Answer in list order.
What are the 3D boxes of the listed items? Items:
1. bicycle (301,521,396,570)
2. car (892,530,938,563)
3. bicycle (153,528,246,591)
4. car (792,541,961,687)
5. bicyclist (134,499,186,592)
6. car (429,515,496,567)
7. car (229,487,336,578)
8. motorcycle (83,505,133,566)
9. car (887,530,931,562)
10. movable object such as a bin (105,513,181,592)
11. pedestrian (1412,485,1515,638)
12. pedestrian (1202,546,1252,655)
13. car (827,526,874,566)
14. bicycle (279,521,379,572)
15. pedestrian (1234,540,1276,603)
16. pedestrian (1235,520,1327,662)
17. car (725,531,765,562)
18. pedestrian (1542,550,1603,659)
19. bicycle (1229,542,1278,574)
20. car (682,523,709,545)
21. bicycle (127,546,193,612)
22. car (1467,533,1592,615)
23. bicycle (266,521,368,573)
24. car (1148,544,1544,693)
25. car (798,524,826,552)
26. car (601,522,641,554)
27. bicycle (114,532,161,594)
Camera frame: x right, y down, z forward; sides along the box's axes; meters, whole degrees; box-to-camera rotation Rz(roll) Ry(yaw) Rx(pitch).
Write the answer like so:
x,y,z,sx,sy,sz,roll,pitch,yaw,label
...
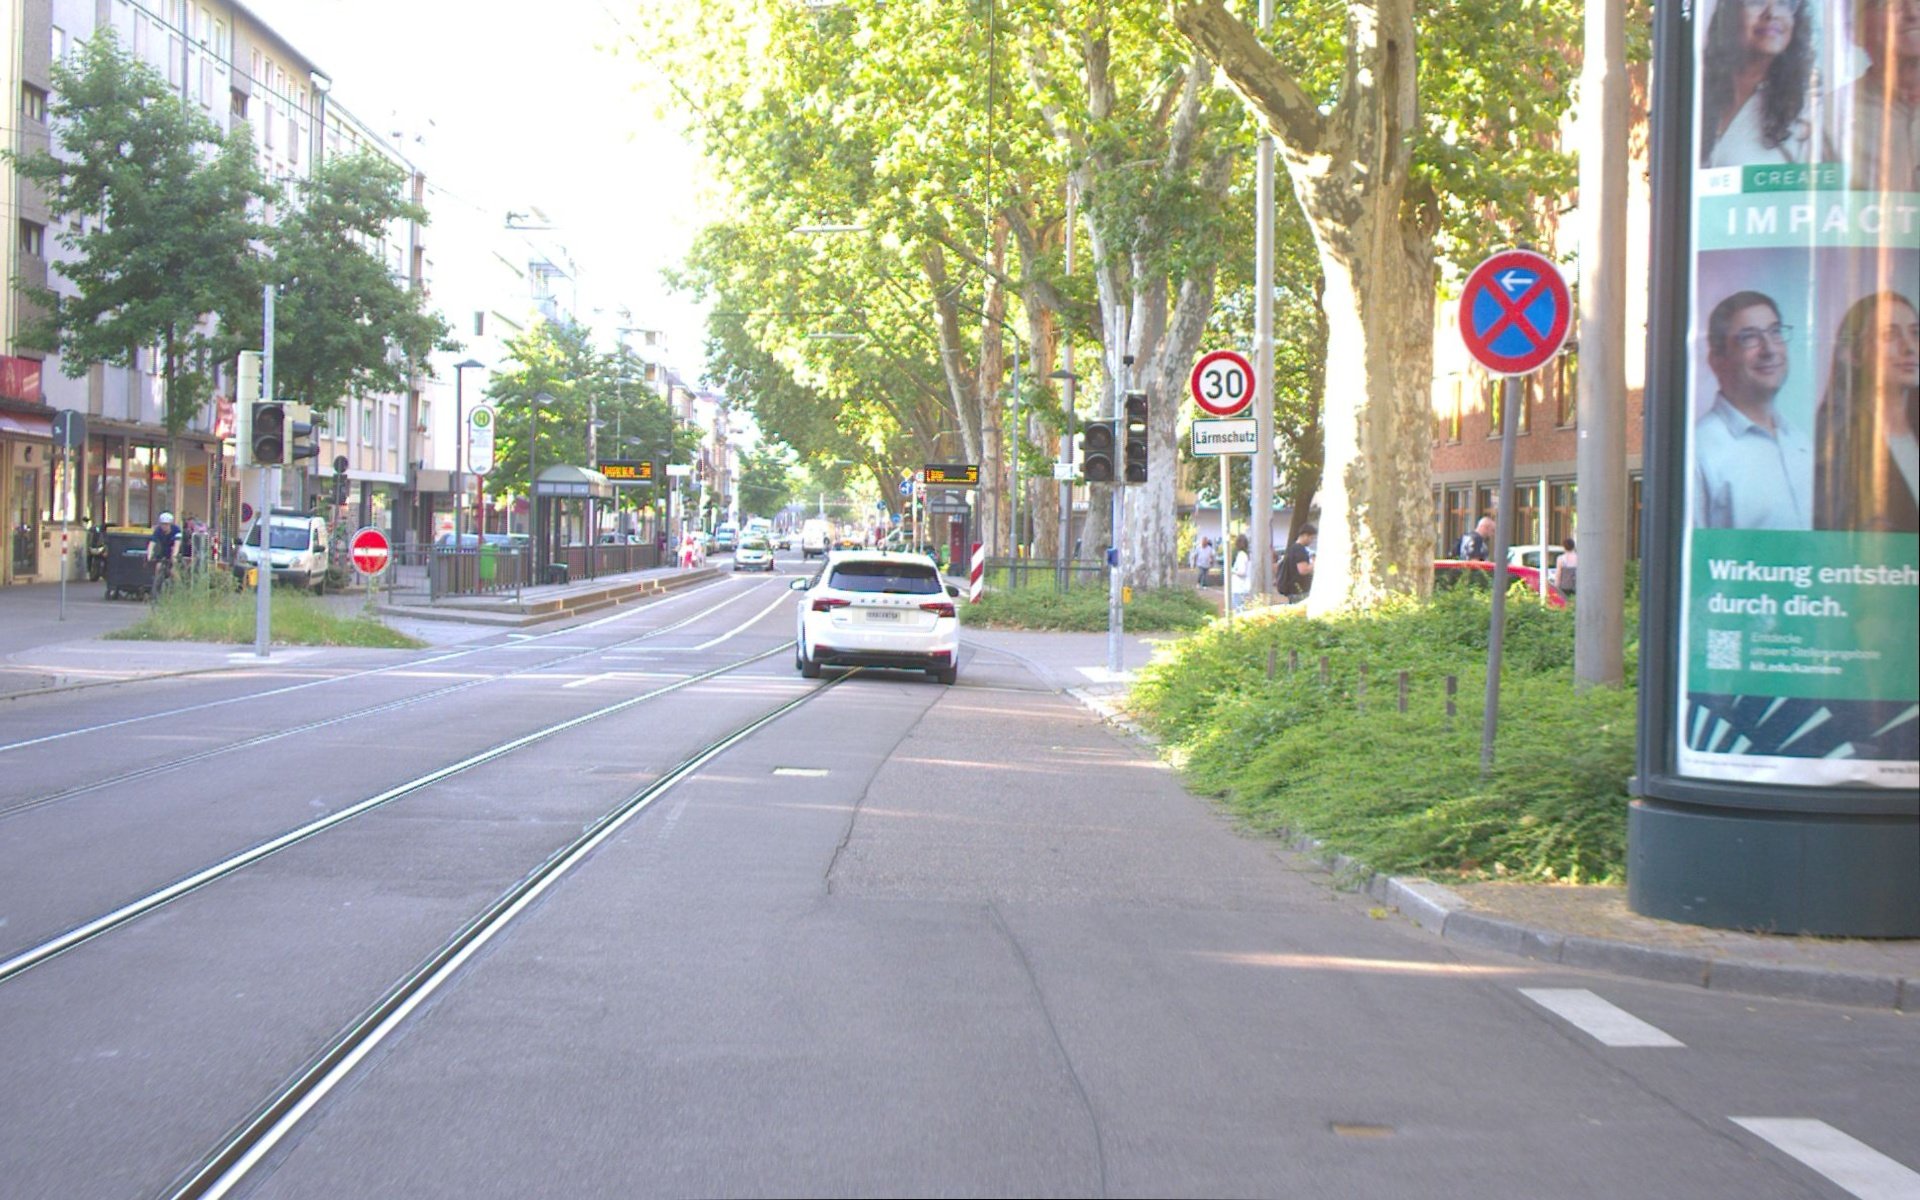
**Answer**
x,y,z,sx,sy,sz,roll,pitch,yaw,label
-15.595,-1.393,87.704,2.253,1.070,0.636,4,1,0,bicycle
-2.089,-2.450,157.903,1.993,1.448,4.001,1,1,-2,car
-14.422,-0.780,65.239,1.533,1.071,0.885,4,1,-2,bicycle
-0.962,0.120,38.879,1.788,1.508,4.001,1,1,-2,car
-12.555,-0.863,53.961,0.641,1.450,0.837,0,1,-2,bicyclist
-15.851,-1.897,109.620,1.593,1.543,4.001,3,1,-2,car
-15.025,-1.507,76.431,1.688,1.933,4.001,1,1,-2,car
-18.630,-1.419,75.229,0.599,1.306,2.222,1,1,-2,motorcycle
-2.439,-2.554,162.982,1.993,1.448,4.001,1,1,-2,car
-15.003,-0.880,63.150,1.169,1.344,0.783,5,1,-6,movable object such as a bin
6.318,-0.492,43.168,0.982,1.857,1.016,-2,2,-7,pedestrian
4.151,0.001,53.440,0.652,1.663,0.738,1,1,-2,pedestrian
-4.308,-2.134,135.339,1.788,1.508,4.001,1,1,-2,car
-15.409,-1.298,84.011,2.253,1.070,0.636,4,1,0,bicycle
7.713,-0.750,89.900,0.972,1.618,0.888,1,1,-2,pedestrian
4.163,-0.122,44.610,0.994,1.805,0.864,1,1,-7,pedestrian
-9.999,-2.502,159.955,1.693,1.414,4.001,1,1,-2,car
9.481,0.062,53.237,0.735,1.663,0.835,1,1,-2,pedestrian
9.840,-1.416,115.203,1.567,1.034,0.479,2,1,20,bicycle
-19.229,-4.810,250.099,1.788,1.508,4.001,1,1,-2,car
-12.549,-0.338,53.962,0.641,0.983,2.101,0,1,-3,bicycle
10.792,-0.516,65.309,1.600,1.490,3.418,1,1,-3,car
-15.401,-1.279,82.363,2.253,1.070,0.636,4,1,0,bicycle
3.919,0.171,35.348,3.885,1.418,1.648,1,1,2,car
-10.171,-4.288,236.499,1.866,1.886,4.001,1,1,-2,car
-17.277,-3.170,175.155,1.677,1.543,4.001,3,1,-2,car
-15.433,-0.697,64.544,0.498,1.104,1.800,5,1,-5,bicycle
